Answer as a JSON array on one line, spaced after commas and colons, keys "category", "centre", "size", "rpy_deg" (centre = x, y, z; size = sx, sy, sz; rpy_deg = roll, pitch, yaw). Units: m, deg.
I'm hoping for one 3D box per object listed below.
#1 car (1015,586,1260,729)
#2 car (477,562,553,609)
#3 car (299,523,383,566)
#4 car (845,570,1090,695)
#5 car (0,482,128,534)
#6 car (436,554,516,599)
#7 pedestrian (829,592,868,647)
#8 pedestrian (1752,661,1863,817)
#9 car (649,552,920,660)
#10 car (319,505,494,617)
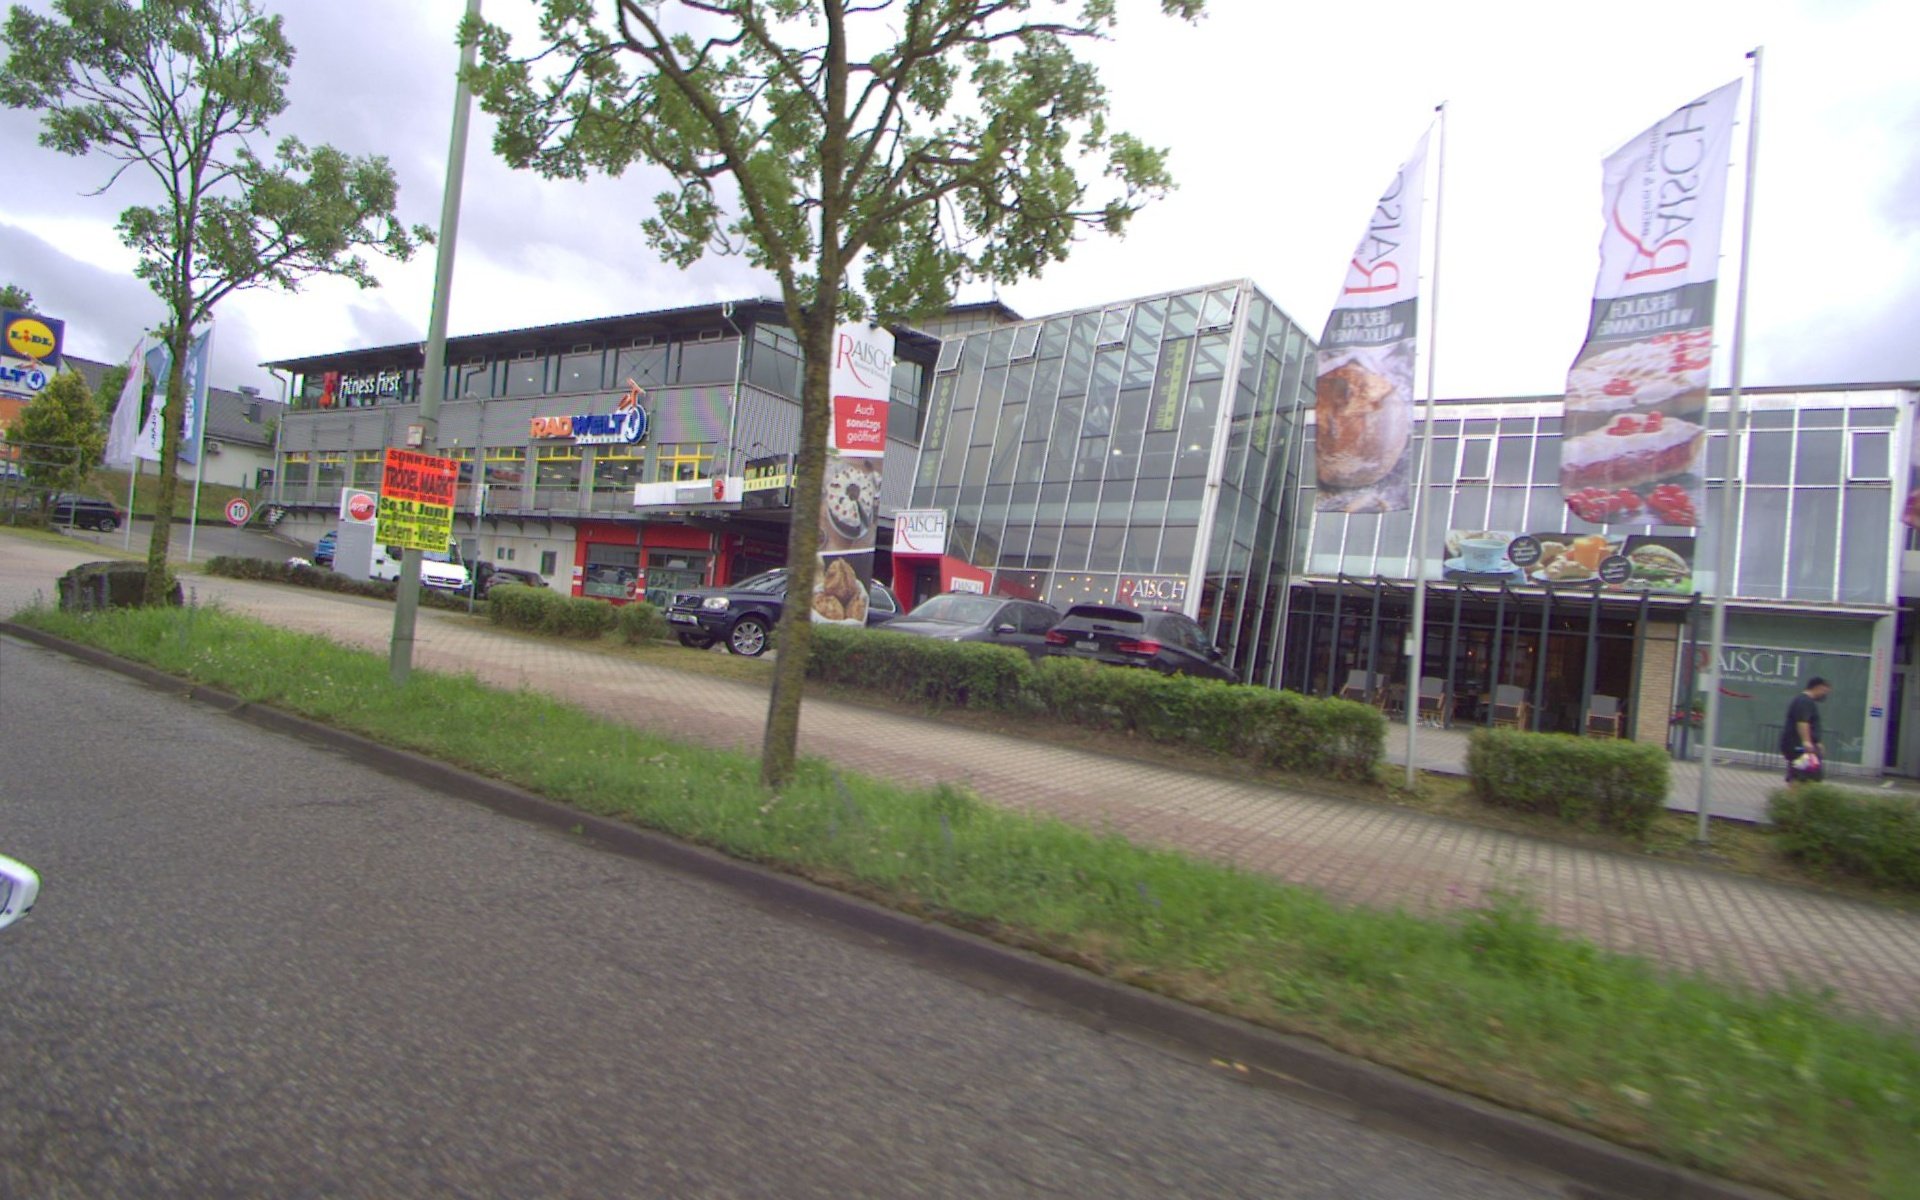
[{"category": "car", "centre": [2.725, 0.785, 14.670], "size": [1.772, 1.622, 4.165], "rpy_deg": [7, 2, 35]}, {"category": "car", "centre": [-17.436, -0.598, 39.602], "size": [1.756, 1.488, 4.248], "rpy_deg": [9, 0, -12]}, {"category": "car", "centre": [-28.424, -2.512, 46.352], "size": [1.711, 1.578, 3.903], "rpy_deg": [9, 0, -9]}, {"category": "car", "centre": [0.260, 0.523, 16.290], "size": [1.799, 1.622, 4.165], "rpy_deg": [7, 2, 35]}, {"category": "car", "centre": [-38.048, -3.882, 42.440], "size": [1.764, 1.456, 4.105], "rpy_deg": [9, 0, 20]}, {"category": "car", "centre": [-19.727, -0.951, 41.211], "size": [1.712, 1.488, 4.250], "rpy_deg": [9, 0, -10]}, {"category": "pedestrian", "centre": [-3.838, 0.667, 34.604], "size": [0.855, 1.798, 0.803], "rpy_deg": [7, -1, -39]}, {"category": "pedestrian", "centre": [10.749, 1.749, 12.787], "size": [0.837, 1.810, 0.632], "rpy_deg": [6, -2, 32]}, {"category": "car", "centre": [-3.098, 0.168, 18.540], "size": [1.900, 1.622, 4.643], "rpy_deg": [7, 2, 42]}, {"category": "car", "centre": [-17.239, -1.242, 31.214], "size": [5.589, 2.566, 2.230], "rpy_deg": [9, -1, 35]}]
